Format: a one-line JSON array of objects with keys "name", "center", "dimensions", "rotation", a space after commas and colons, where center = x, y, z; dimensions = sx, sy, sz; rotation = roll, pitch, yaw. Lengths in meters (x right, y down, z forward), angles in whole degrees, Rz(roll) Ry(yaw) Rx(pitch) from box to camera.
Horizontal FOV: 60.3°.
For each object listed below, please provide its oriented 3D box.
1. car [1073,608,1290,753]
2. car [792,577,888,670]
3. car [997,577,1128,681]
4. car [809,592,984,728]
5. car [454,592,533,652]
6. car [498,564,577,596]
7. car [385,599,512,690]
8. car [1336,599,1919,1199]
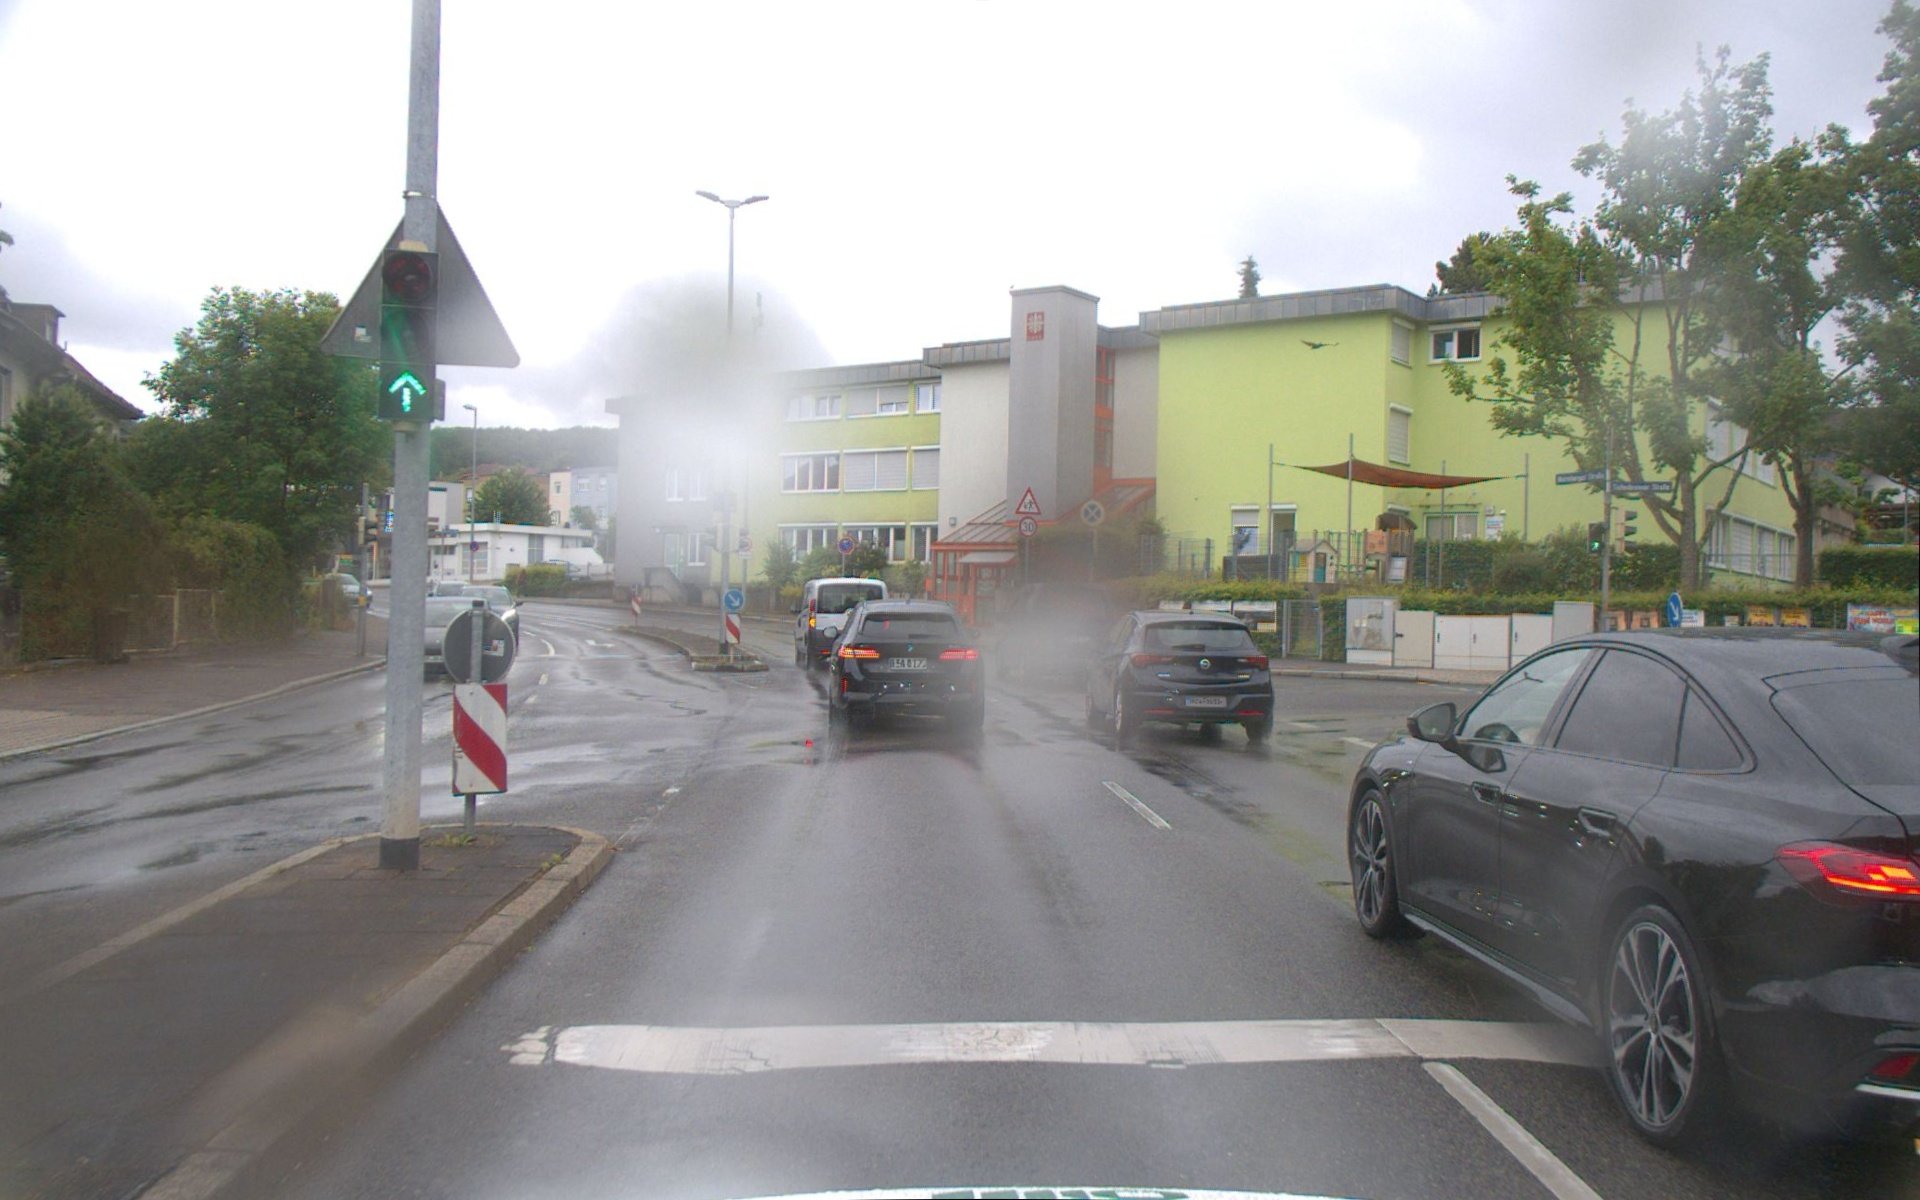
[{"name": "car", "center": [2.552, 0.879, 20.008], "dimensions": [1.813, 1.512, 4.083], "rotation": [0, 0, -4]}, {"name": "car", "center": [-2.630, 0.442, 35.475], "dimensions": [1.685, 1.876, 4.077], "rotation": [0, 1, -10]}, {"name": "car", "center": [1.831, 0.493, 30.745], "dimensions": [1.749, 1.764, 4.081], "rotation": [-1, 0, -6]}, {"name": "car", "center": [-0.884, 0.676, 20.686], "dimensions": [1.652, 1.532, 3.763], "rotation": [0, 0, -11]}, {"name": "car", "center": [-13.020, 0.585, 46.343], "dimensions": [1.817, 1.592, 3.989], "rotation": [0, 0, -11]}, {"name": "car", "center": [-24.657, -1.165, 96.499], "dimensions": [4.325, 1.803, 1.991], "rotation": [-1, 0, -17]}, {"name": "car", "center": [-9.363, 0.762, 30.550], "dimensions": [1.760, 1.515, 4.143], "rotation": [-1, 0, -11]}, {"name": "car", "center": [2.758, 0.755, 5.864], "dimensions": [1.672, 1.452, 4.507], "rotation": [1, 0, -2]}]
